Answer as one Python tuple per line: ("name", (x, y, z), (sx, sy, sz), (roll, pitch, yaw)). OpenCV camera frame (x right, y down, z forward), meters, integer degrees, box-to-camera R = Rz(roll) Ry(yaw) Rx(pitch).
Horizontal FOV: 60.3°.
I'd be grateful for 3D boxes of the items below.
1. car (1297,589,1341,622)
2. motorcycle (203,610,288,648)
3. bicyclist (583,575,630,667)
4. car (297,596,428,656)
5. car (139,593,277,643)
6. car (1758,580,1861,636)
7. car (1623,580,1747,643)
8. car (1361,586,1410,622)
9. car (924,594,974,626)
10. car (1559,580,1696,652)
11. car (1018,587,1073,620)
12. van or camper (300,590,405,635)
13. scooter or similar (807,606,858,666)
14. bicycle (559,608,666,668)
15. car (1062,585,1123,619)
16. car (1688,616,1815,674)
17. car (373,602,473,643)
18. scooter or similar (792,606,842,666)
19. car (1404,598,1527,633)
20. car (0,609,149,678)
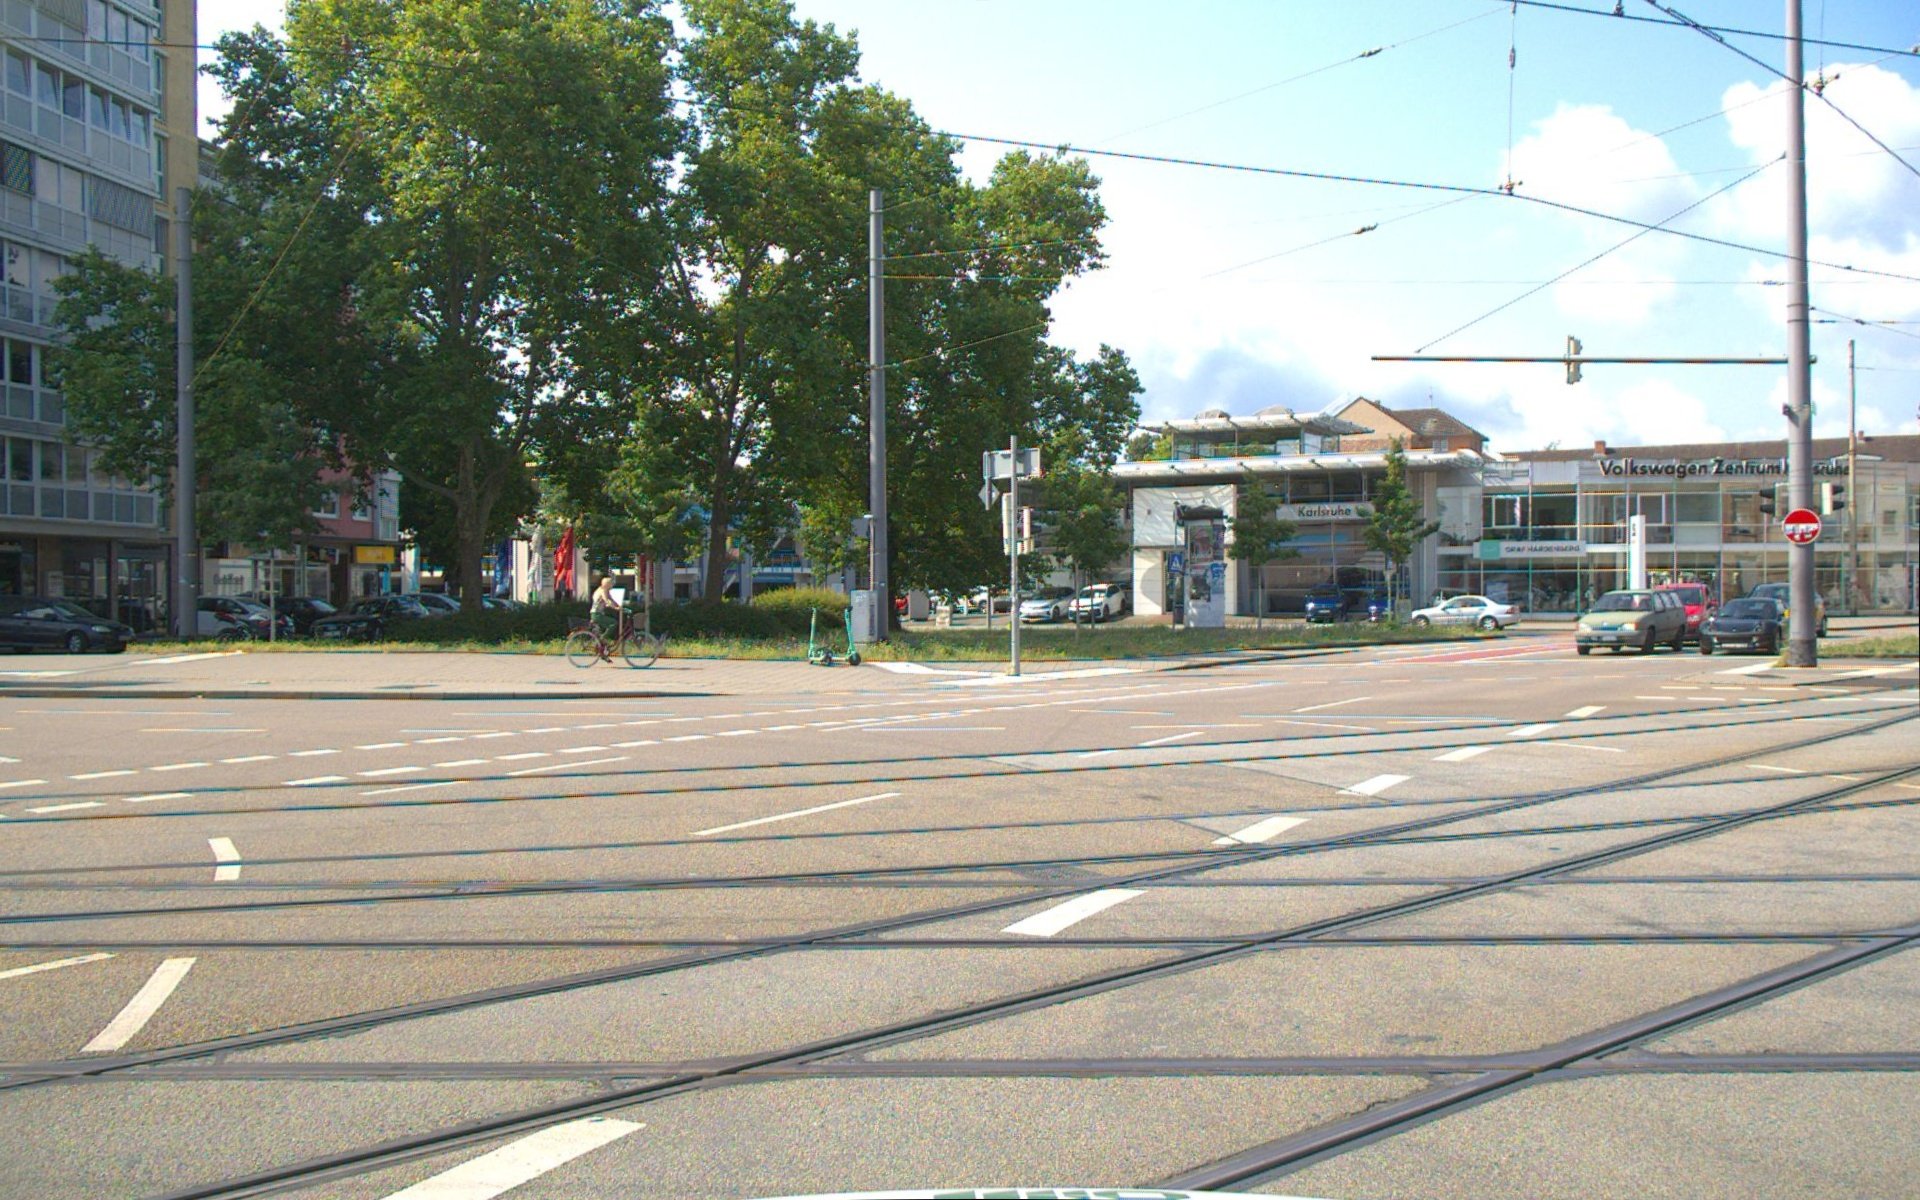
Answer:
("car", (16.720, 0.251, 77.012), (1.878, 1.470, 4.003), (0, 0, 14))
("motorcycle", (-17.924, 0.716, 41.485), (1.874, 0.918, 0.597), (0, 1, -37))
("bicyclist", (-6.886, 0.407, 32.241), (0.809, 1.775, 0.711), (0, -1, -5))
("car", (-17.233, 0.708, 47.912), (1.753, 1.444, 4.004), (4, 2, 9))
("car", (-24.102, 0.573, 53.065), (3.487, 1.557, 2.001), (0, -1, 6))
("car", (24.941, 0.210, 48.510), (1.962, 1.579, 3.981), (0, 0, 39))
("car", (18.708, 0.307, 42.601), (1.962, 1.546, 3.980), (-1, -1, 39))
("car", (19.379, 0.151, 75.191), (1.879, 1.470, 4.002), (2, 2, 18))
("car", (-0.555, 0.527, 85.684), (1.645, 1.624, 4.003), (0, -1, 14))
("car", (15.180, 0.366, 37.504), (1.792, 1.540, 3.980), (-1, -1, 39))
("car", (4.330, 0.213, 83.259), (1.951, 1.601, 4.002), (0, -1, 16))
("van or camper", (-35.216, 0.730, 95.867), (5.761, 2.512, 2.391), (0, -1, 26))
("scooter or similar", (-2.572, 0.725, 33.405), (0.917, 1.178, 0.377), (2, 2, -32))
("bicycle", (-6.754, 0.742, 32.209), (1.946, 1.147, 0.789), (0, -1, -5))
("car", (6.613, 0.068, 82.163), (2.024, 1.632, 4.001), (0, 0, 20))
("car", (17.247, 0.958, 35.963), (1.596, 1.182, 3.980), (-1, -1, 39))
("car", (-22.029, 0.926, 67.906), (3.530, 1.622, 1.667), (0, -1, 10))
("scooter or similar", (-2.926, 0.731, 33.871), (0.913, 1.178, 0.379), (2, 2, -21))
("car", (20.248, 0.621, 66.290), (4.447, 1.378, 1.997), (0, -1, 28))
("car", (-23.627, 1.101, 42.799), (4.285, 1.613, 2.001), (2, -1, 6))
